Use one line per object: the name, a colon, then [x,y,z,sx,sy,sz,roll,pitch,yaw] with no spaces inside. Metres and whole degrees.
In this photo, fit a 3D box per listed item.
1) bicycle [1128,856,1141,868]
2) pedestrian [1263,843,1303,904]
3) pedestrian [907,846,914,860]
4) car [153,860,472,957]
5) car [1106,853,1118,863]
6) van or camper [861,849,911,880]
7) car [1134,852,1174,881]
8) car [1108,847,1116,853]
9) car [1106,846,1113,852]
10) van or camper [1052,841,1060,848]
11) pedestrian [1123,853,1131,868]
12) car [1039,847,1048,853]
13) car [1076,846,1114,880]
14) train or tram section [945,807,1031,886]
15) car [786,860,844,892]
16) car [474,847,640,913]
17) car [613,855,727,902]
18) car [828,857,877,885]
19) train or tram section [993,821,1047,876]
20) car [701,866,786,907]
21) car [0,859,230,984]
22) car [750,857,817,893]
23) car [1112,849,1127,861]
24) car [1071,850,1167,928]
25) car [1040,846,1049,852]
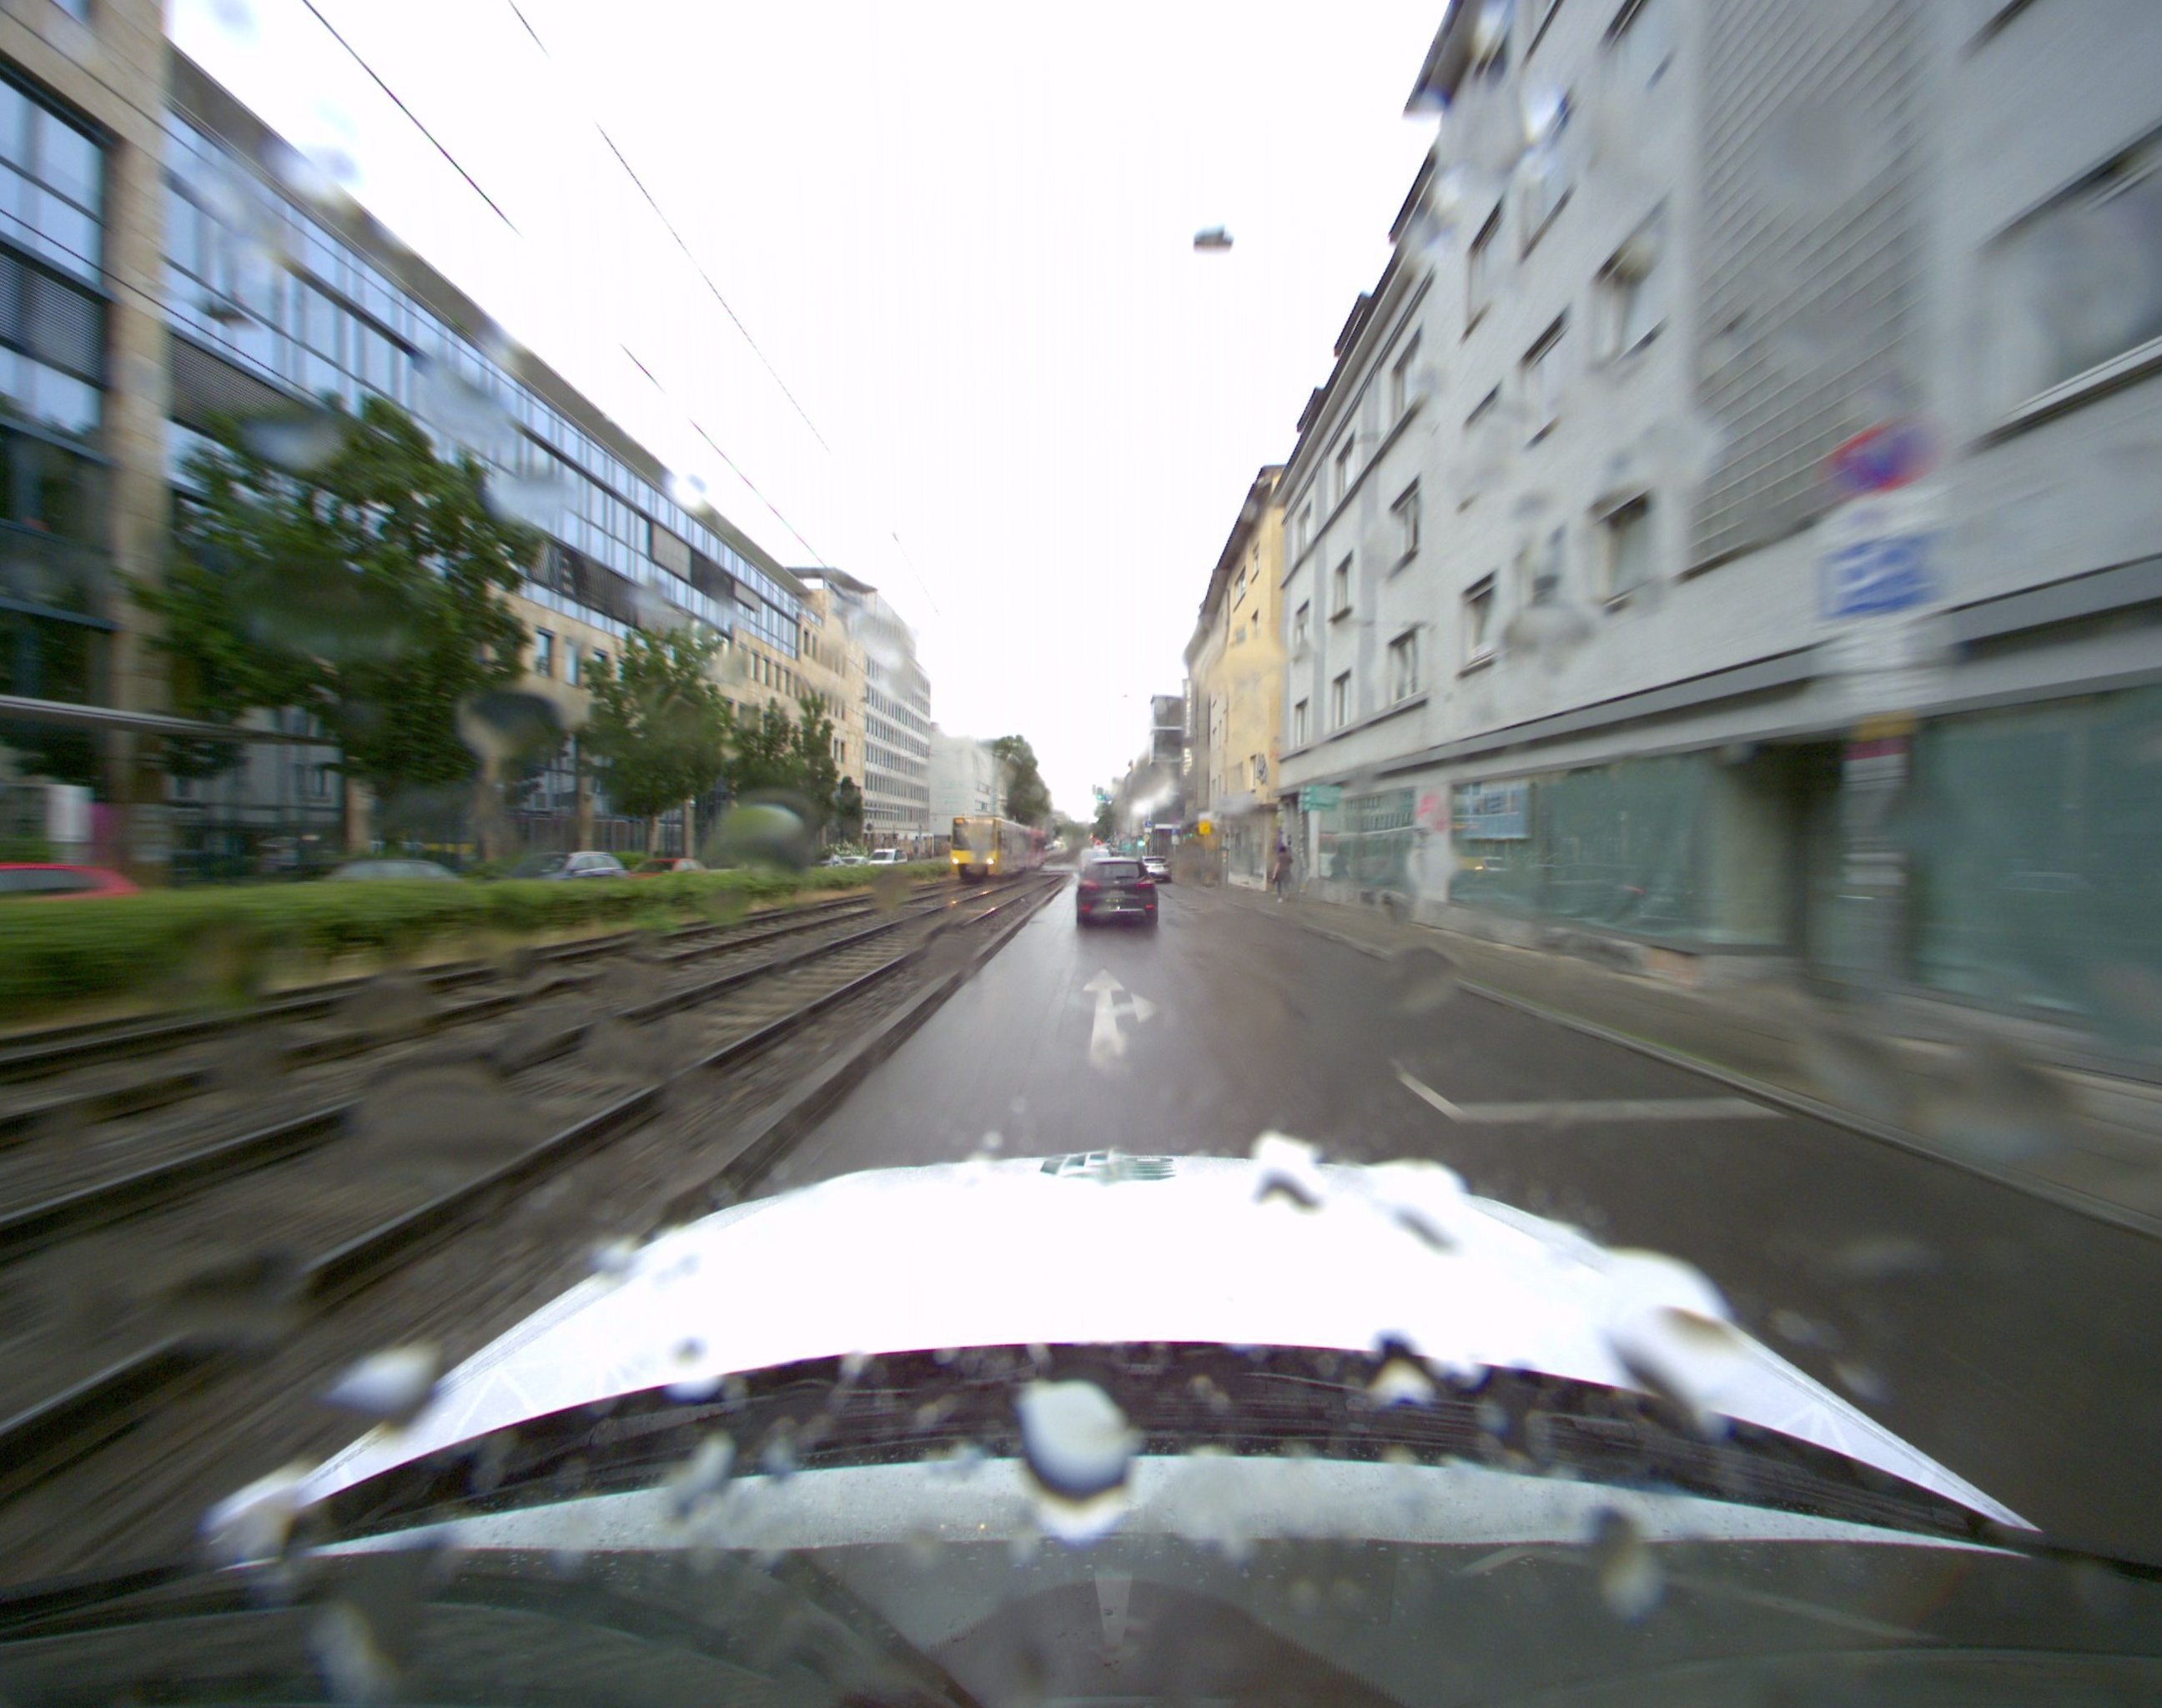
bicycle: [5.572,0.809,84.339,0.499,1.259,1.941,1,0,-23]
pedestrian: [5.832,0.551,23.543,0.788,1.659,0.721,-6,0,0]
pedestrian: [-20.760,-0.097,99.302,0.738,1.737,0.889,0,-1,-2]
car: [-14.300,0.904,15.632,1.643,1.540,4.623,0,0,2]
car: [5.396,0.701,140.672,1.986,1.594,4.573,0,0,2]
van or camper: [-13.386,0.713,56.225,2.009,1.997,5.199,1,-1,1]
car: [4.162,0.695,46.909,2.017,1.594,4.622,0,0,2]
car: [7.791,-1.005,203.877,1.733,1.489,4.000,0,1,0]
car: [7.344,-1.260,208.495,1.637,1.515,4.039,0,1,0]
van or camper: [-7.171,-2.696,235.189,1.986,2.013,4.001,0,0,1]
pedestrian: [5.107,0.722,90.701,0.662,1.582,0.774,0,0,-21]
car: [-9.013,-0.984,196.435,1.986,1.519,4.436,1,1,1]
car: [0.844,0.508,45.828,1.985,1.816,4.274,0,0,3]
train or tram section: [-5.351,-0.335,51.172,2.891,4.050,18.414,0,0,1]
car: [-14.003,1.137,43.064,1.684,1.486,4.294,0,1,-1]
car: [-14.071,0.643,22.201,1.643,1.601,4.294,0,0,2]
car: [-14.053,0.776,28.123,1.643,1.498,4.294,0,0,2]
car: [-13.527,0.992,48.408,1.683,1.486,4.255,0,1,0]
train or tram section: [-4.921,-0.336,69.896,2.891,4.050,18.771,0,0,1]
car: [-13.762,1.270,33.456,1.643,1.498,4.194,0,0,2]
car: [-14.401,0.864,10.627,1.643,1.540,4.623,0,0,2]
car: [-13.871,0.933,38.200,1.683,1.486,4.000,0,1,0]
car: [5.100,0.105,109.022,1.986,1.594,4.273,0,0,2]
car: [0.848,0.733,18.979,1.986,1.594,4.273,0,0,2]
car: [-9.203,-1.217,203.984,1.986,1.519,4.436,1,1,1]
